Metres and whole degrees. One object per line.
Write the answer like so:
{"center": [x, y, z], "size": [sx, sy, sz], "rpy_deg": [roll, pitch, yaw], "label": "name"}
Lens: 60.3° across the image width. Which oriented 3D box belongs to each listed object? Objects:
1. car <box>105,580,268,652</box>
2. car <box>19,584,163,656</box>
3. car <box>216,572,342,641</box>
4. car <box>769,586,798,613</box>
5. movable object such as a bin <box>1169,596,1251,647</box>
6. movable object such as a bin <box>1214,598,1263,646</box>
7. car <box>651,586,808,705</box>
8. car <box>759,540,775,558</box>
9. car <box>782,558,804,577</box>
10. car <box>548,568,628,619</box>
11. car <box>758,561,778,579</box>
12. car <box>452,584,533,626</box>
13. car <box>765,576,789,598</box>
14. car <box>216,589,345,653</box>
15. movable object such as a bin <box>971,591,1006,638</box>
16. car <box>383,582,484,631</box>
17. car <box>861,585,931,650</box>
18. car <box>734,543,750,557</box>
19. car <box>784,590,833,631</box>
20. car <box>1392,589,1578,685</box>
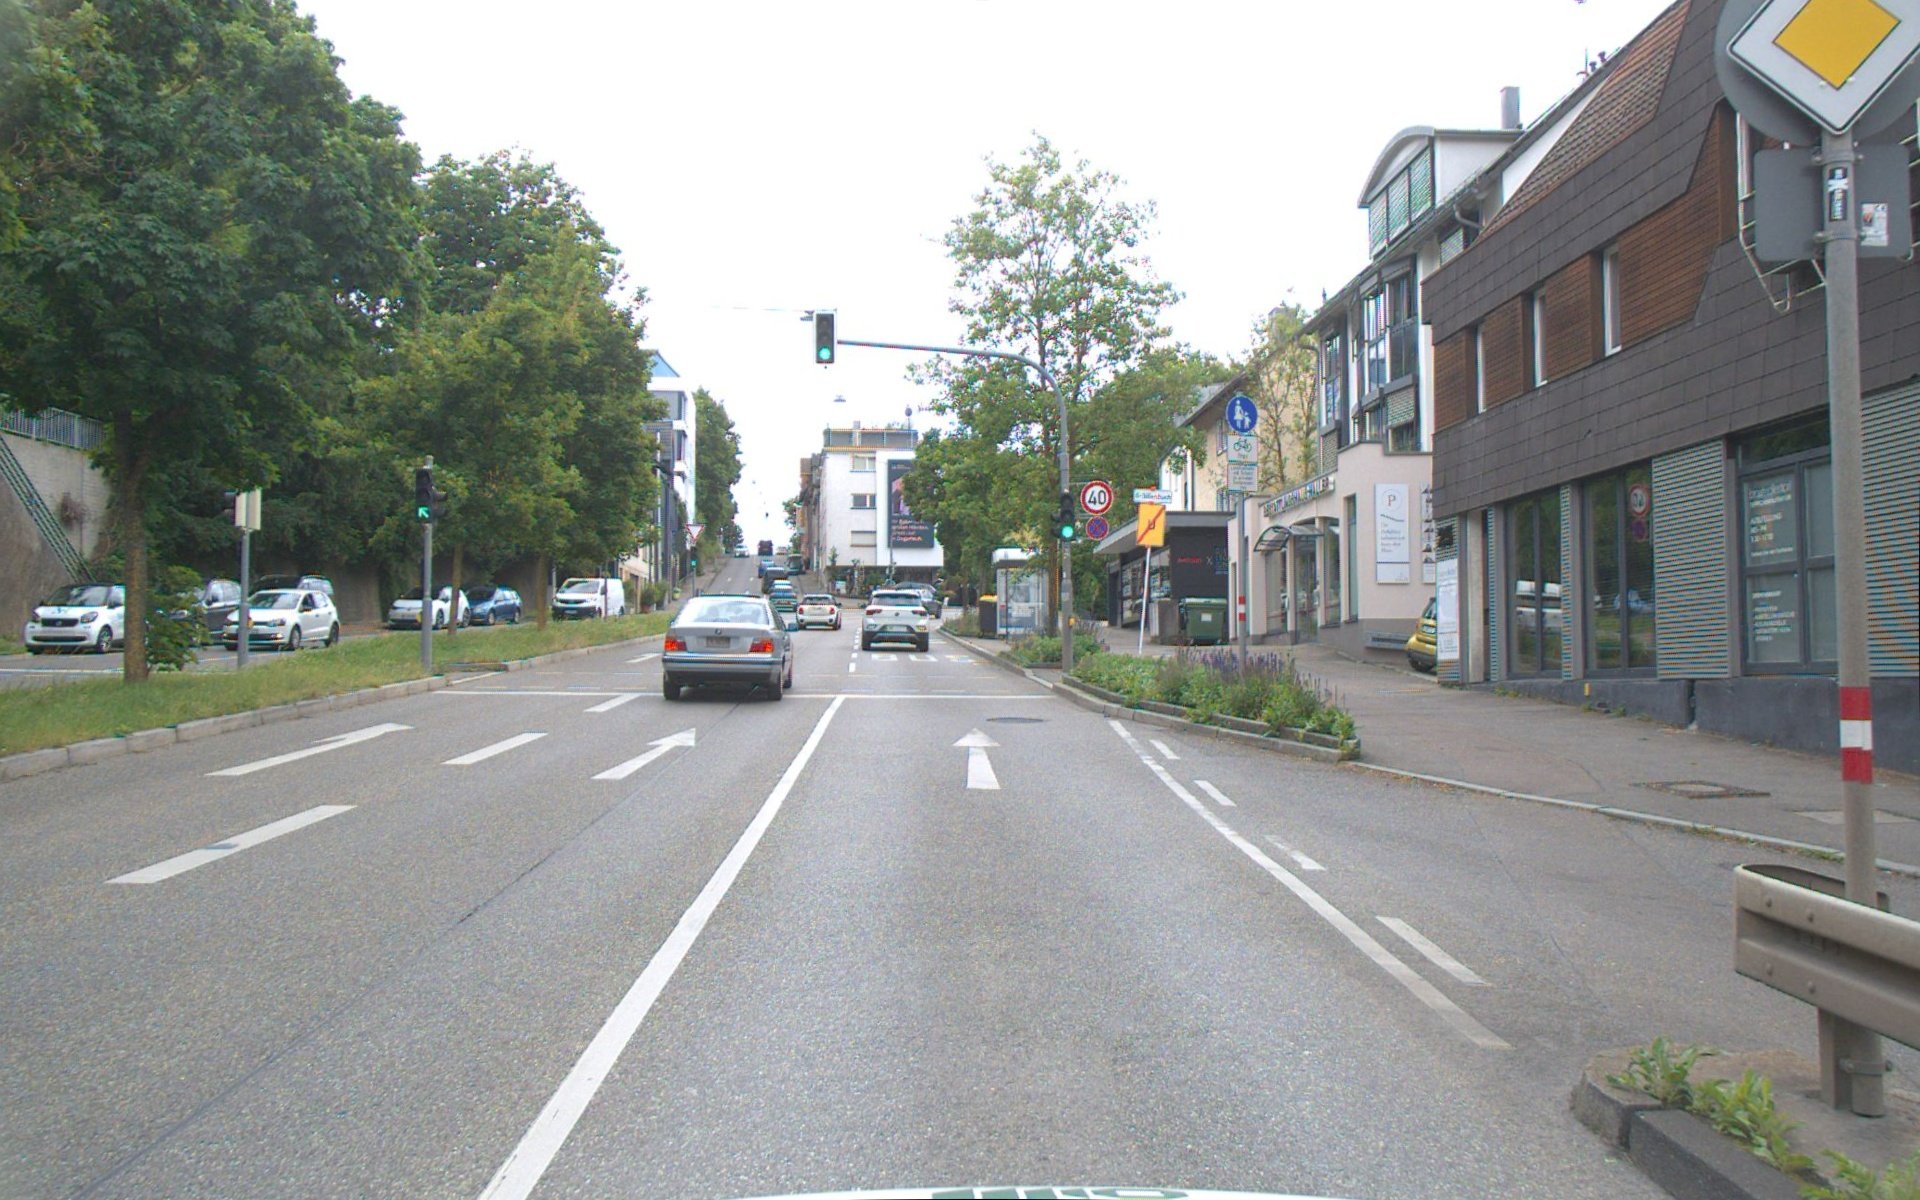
{"center": [-19.652, 0.392, 42.261], "size": [1.929, 1.685, 4.533], "rpy_deg": [1, 0, 1], "label": "car"}
{"center": [-19.654, 0.423, 37.530], "size": [1.745, 1.524, 3.095], "rpy_deg": [1, 1, -4], "label": "car"}
{"center": [-19.693, 0.151, 48.013], "size": [1.743, 1.875, 4.488], "rpy_deg": [1, 1, 0], "label": "car"}
{"center": [-11.068, -0.073, 103.513], "size": [1.746, 1.606, 3.995], "rpy_deg": [1, 1, -6], "label": "car"}
{"center": [7.613, 0.623, 50.776], "size": [1.850, 1.477, 3.999], "rpy_deg": [1, 0, -1], "label": "movable object such as a bin"}
{"center": [8.614, 0.681, 51.199], "size": [1.313, 1.434, 1.127], "rpy_deg": [1, 0, -1], "label": "movable object such as a bin"}
{"center": [-3.180, 0.577, 23.499], "size": [1.671, 1.489, 4.000], "rpy_deg": [1, 1, -1], "label": "car"}
{"center": [-24.136, -6.374, 206.817], "size": [1.955, 2.049, 3.995], "rpy_deg": [1, 1, -7], "label": "car"}
{"center": [-15.634, -3.032, 154.904], "size": [2.049, 1.641, 3.995], "rpy_deg": [1, 0, -5], "label": "car"}
{"center": [-15.413, -0.286, 68.752], "size": [1.898, 1.992, 5.024], "rpy_deg": [1, 1, 4], "label": "car"}
{"center": [-17.233, -2.710, 148.859], "size": [1.746, 1.606, 3.995], "rpy_deg": [1, 1, -6], "label": "car"}
{"center": [-18.600, 0.168, 65.989], "size": [1.676, 1.555, 4.304], "rpy_deg": [1, 1, 5], "label": "car"}
{"center": [-13.863, -0.958, 125.005], "size": [1.746, 1.606, 3.995], "rpy_deg": [1, 1, -6], "label": "car"}
{"center": [-16.665, 0.485, 40.739], "size": [1.694, 1.453, 3.789], "rpy_deg": [1, 1, -2], "label": "car"}
{"center": [0.919, 0.463, 53.865], "size": [1.063, 1.507, 1.536], "rpy_deg": [1, 0, -2], "label": "movable object such as a bin"}
{"center": [-19.103, 0.211, 60.201], "size": [1.742, 1.657, 4.174], "rpy_deg": [1, 1, 10], "label": "car"}
{"center": [-1.763, 0.435, 44.285], "size": [1.744, 1.606, 3.997], "rpy_deg": [1, 1, -4], "label": "car"}
{"center": [-26.281, -6.041, 199.289], "size": [1.847, 1.594, 4.384], "rpy_deg": [0, 3, -7], "label": "car"}
{"center": [-6.238, 0.422, 68.300], "size": [1.744, 1.606, 3.999], "rpy_deg": [1, 1, -2], "label": "car"}
{"center": [10.285, 0.715, 32.502], "size": [2.936, 1.488, 1.663], "rpy_deg": [6, 1, -9], "label": "car"}
